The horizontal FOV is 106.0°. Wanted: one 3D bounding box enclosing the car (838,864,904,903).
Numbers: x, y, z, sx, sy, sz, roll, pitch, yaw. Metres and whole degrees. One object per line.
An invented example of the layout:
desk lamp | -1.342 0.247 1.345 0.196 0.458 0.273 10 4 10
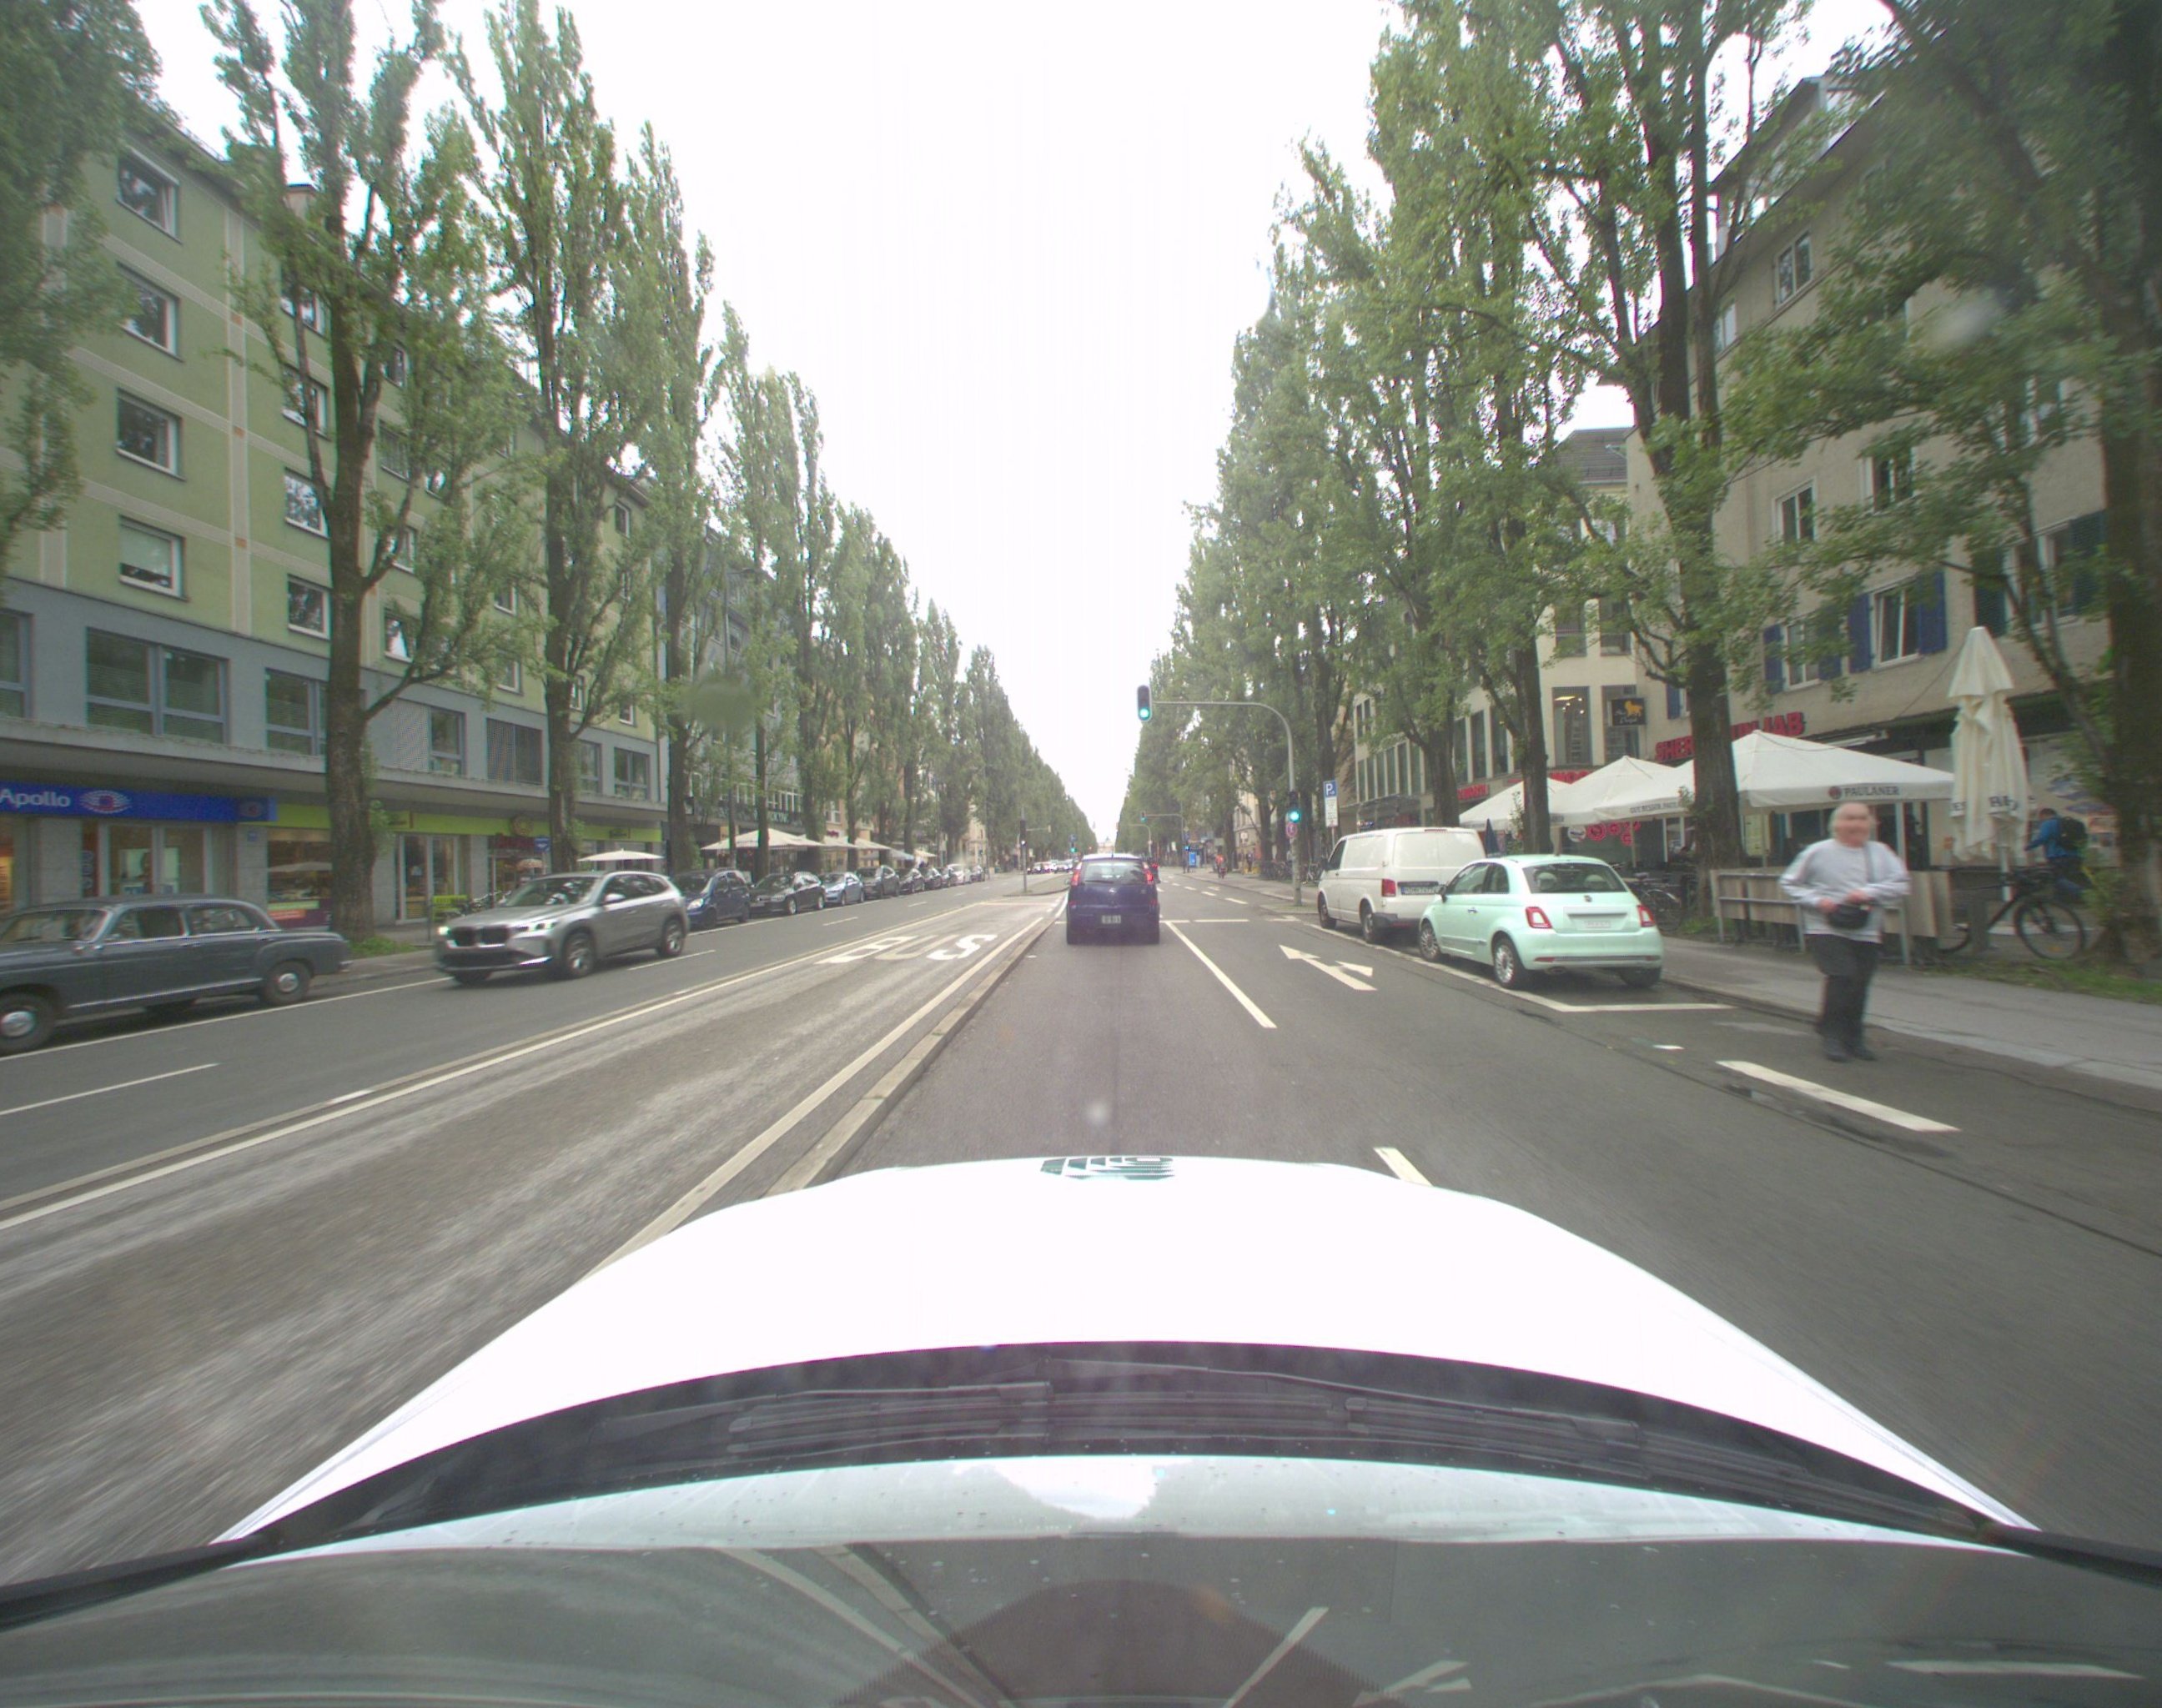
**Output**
car | -10.198 1.391 39.873 1.859 1.665 4.402 -4 0 2

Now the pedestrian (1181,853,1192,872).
pedestrian | 10.011 0.788 77.402 0.880 1.766 0.769 -2 -1 -1

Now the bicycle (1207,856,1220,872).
bicycle | 11.626 0.866 71.662 0.769 1.349 2.450 -2 0 1

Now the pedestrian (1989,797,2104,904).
pedestrian | 15.886 -0.048 13.425 0.795 1.677 0.877 -2 -1 0

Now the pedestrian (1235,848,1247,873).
pedestrian | 11.833 0.511 60.180 0.636 1.827 0.885 0 -1 -8

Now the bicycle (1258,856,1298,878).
bicycle | 11.637 0.780 48.126 2.220 1.204 0.626 -2 -1 -1

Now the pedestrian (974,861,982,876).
pedestrian | -12.440 1.731 98.197 0.768 1.766 0.881 -2 -1 -13

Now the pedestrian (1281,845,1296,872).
pedestrian | 14.129 0.302 55.420 0.719 1.827 0.885 0 -1 -8

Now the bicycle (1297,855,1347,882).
bicycle | 11.856 0.708 40.110 2.220 1.204 0.626 -2 -1 -1

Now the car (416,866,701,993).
car | -8.357 1.088 13.623 1.764 1.635 4.456 -3 0 1

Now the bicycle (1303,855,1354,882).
bicycle | 11.855 0.703 39.026 2.220 1.204 0.626 -2 -1 -1

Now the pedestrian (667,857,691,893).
pedestrian | -19.597 1.028 39.744 0.753 1.686 0.675 -3 -1 3

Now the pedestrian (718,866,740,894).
pedestrian | -17.783 1.310 41.175 0.763 1.410 0.799 0 -1 -3

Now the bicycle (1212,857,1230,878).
bicycle | 9.298 0.866 54.199 0.769 1.349 2.450 -2 0 1

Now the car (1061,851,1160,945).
car | 0.583 0.764 15.964 1.665 1.568 4.002 -1 0 2

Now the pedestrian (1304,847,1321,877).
pedestrian | 14.026 0.475 49.368 0.719 1.827 0.885 0 -1 -8

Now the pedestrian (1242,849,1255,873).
pedestrian | 12.461 0.517 60.653 0.636 1.827 0.885 0 -1 -8

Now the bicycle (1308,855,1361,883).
bicycle | 11.776 0.697 37.915 2.220 1.204 0.626 -2 -1 -1

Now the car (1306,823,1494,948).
car | 5.735 0.509 15.343 1.781 1.946 4.732 -1 0 2

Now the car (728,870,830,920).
car | -10.633 1.386 29.019 1.792 1.489 4.352 -4 0 2

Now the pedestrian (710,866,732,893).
pedestrian | -18.798 1.336 42.539 0.763 1.410 0.799 0 -1 -3

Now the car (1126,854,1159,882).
car | 3.844 0.853 51.403 1.889 1.622 4.002 -1 0 2

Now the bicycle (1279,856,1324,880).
bicycle | 11.808 0.742 43.600 2.220 1.204 0.626 -2 -1 -1

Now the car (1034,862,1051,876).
car | -5.084 1.956 107.808 1.859 1.665 4.122 -2 0 2

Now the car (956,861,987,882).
car | -9.279 1.473 69.380 1.859 1.665 4.122 -4 0 2

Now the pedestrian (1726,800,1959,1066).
pedestrian | 5.484 0.536 5.937 0.824 1.773 0.871 -2 -1 3

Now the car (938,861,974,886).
car | -9.493 1.470 62.104 1.859 1.665 4.122 -4 0 2

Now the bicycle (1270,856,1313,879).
bicycle | 11.869 0.775 46.002 2.220 1.204 0.626 -2 -1 -1

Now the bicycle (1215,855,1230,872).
bicycle | 11.563 0.742 66.552 0.769 1.349 2.450 -2 0 1

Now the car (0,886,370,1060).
car | -11.438 1.295 9.722 1.859 1.552 4.416 -4 0 2

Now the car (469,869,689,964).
car | -10.945 1.266 18.252 1.859 1.664 4.613 -4 0 2

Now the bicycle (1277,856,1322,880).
bicycle | 11.896 0.750 44.407 2.220 1.204 0.626 -2 -1 -1

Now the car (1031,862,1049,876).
car | -5.060 1.828 101.745 1.859 1.665 4.122 -2 0 2

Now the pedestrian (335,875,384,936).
pedestrian | -20.597 1.463 23.264 0.670 1.686 0.759 -3 -1 3

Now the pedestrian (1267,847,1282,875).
pedestrian | 13.112 0.479 55.193 0.636 1.827 0.885 0 -1 -8

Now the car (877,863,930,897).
car | -9.966 1.417 46.069 1.859 1.665 4.122 -4 0 2

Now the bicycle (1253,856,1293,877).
bicycle | 11.657 0.770 49.506 2.220 1.204 0.626 -2 -1 -1

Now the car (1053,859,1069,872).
car | -2.429 1.427 100.299 1.728 1.465 3.366 -2 0 2

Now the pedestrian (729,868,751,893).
pedestrian | -19.071 1.486 45.553 0.792 1.410 0.770 -1 -1 14

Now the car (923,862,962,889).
car | -9.619 1.464 56.842 1.859 1.665 4.122 -4 0 2

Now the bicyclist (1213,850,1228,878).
bicyclist | 9.296 0.662 54.321 0.764 1.766 0.885 -2 -1 1

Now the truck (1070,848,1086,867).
truck | -0.485 0.640 145.636 2.374 3.347 7.113 -2 0 2

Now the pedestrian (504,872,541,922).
pedestrian | -19.538 1.502 28.507 0.753 1.686 0.675 -3 -1 3

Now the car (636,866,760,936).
car | -10.936 1.270 23.581 1.704 1.721 3.920 -4 0 -1

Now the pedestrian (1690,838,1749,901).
pedestrian | 14.077 0.340 17.970 0.636 1.324 0.800 -2 -1 1

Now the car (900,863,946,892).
car | -9.903 1.446 51.318 1.859 1.665 4.122 -4 0 2

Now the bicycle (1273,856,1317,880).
bicycle | 11.873 0.763 45.206 2.220 1.204 0.626 -2 -1 -1

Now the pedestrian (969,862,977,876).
pedestrian | -13.295 1.847 100.243 0.770 1.766 0.878 -2 -1 -23

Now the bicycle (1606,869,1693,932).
bicycle | 9.567 0.757 13.757 0.348 0.996 1.453 -3 -1 -2

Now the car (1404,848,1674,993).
car | 5.506 0.716 10.324 1.535 1.492 3.525 -1 -1 3

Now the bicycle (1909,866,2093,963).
bicycle | 10.378 0.642 9.258 0.348 0.996 1.453 -3 -1 -2

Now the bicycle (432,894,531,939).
bicycle | -15.488 1.611 21.079 1.943 1.095 0.718 0 0 -5

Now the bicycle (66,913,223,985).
bicycle | -15.558 1.559 13.558 1.860 1.095 0.720 0 0 4

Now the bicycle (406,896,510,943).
bicycle | -15.454 1.622 20.247 1.943 1.095 0.718 0 0 -5

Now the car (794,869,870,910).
car | -10.396 1.447 34.367 1.727 1.425 4.145 -4 0 2

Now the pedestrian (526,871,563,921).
pedestrian | -18.754 1.463 28.478 0.753 1.686 0.675 -3 -1 3
